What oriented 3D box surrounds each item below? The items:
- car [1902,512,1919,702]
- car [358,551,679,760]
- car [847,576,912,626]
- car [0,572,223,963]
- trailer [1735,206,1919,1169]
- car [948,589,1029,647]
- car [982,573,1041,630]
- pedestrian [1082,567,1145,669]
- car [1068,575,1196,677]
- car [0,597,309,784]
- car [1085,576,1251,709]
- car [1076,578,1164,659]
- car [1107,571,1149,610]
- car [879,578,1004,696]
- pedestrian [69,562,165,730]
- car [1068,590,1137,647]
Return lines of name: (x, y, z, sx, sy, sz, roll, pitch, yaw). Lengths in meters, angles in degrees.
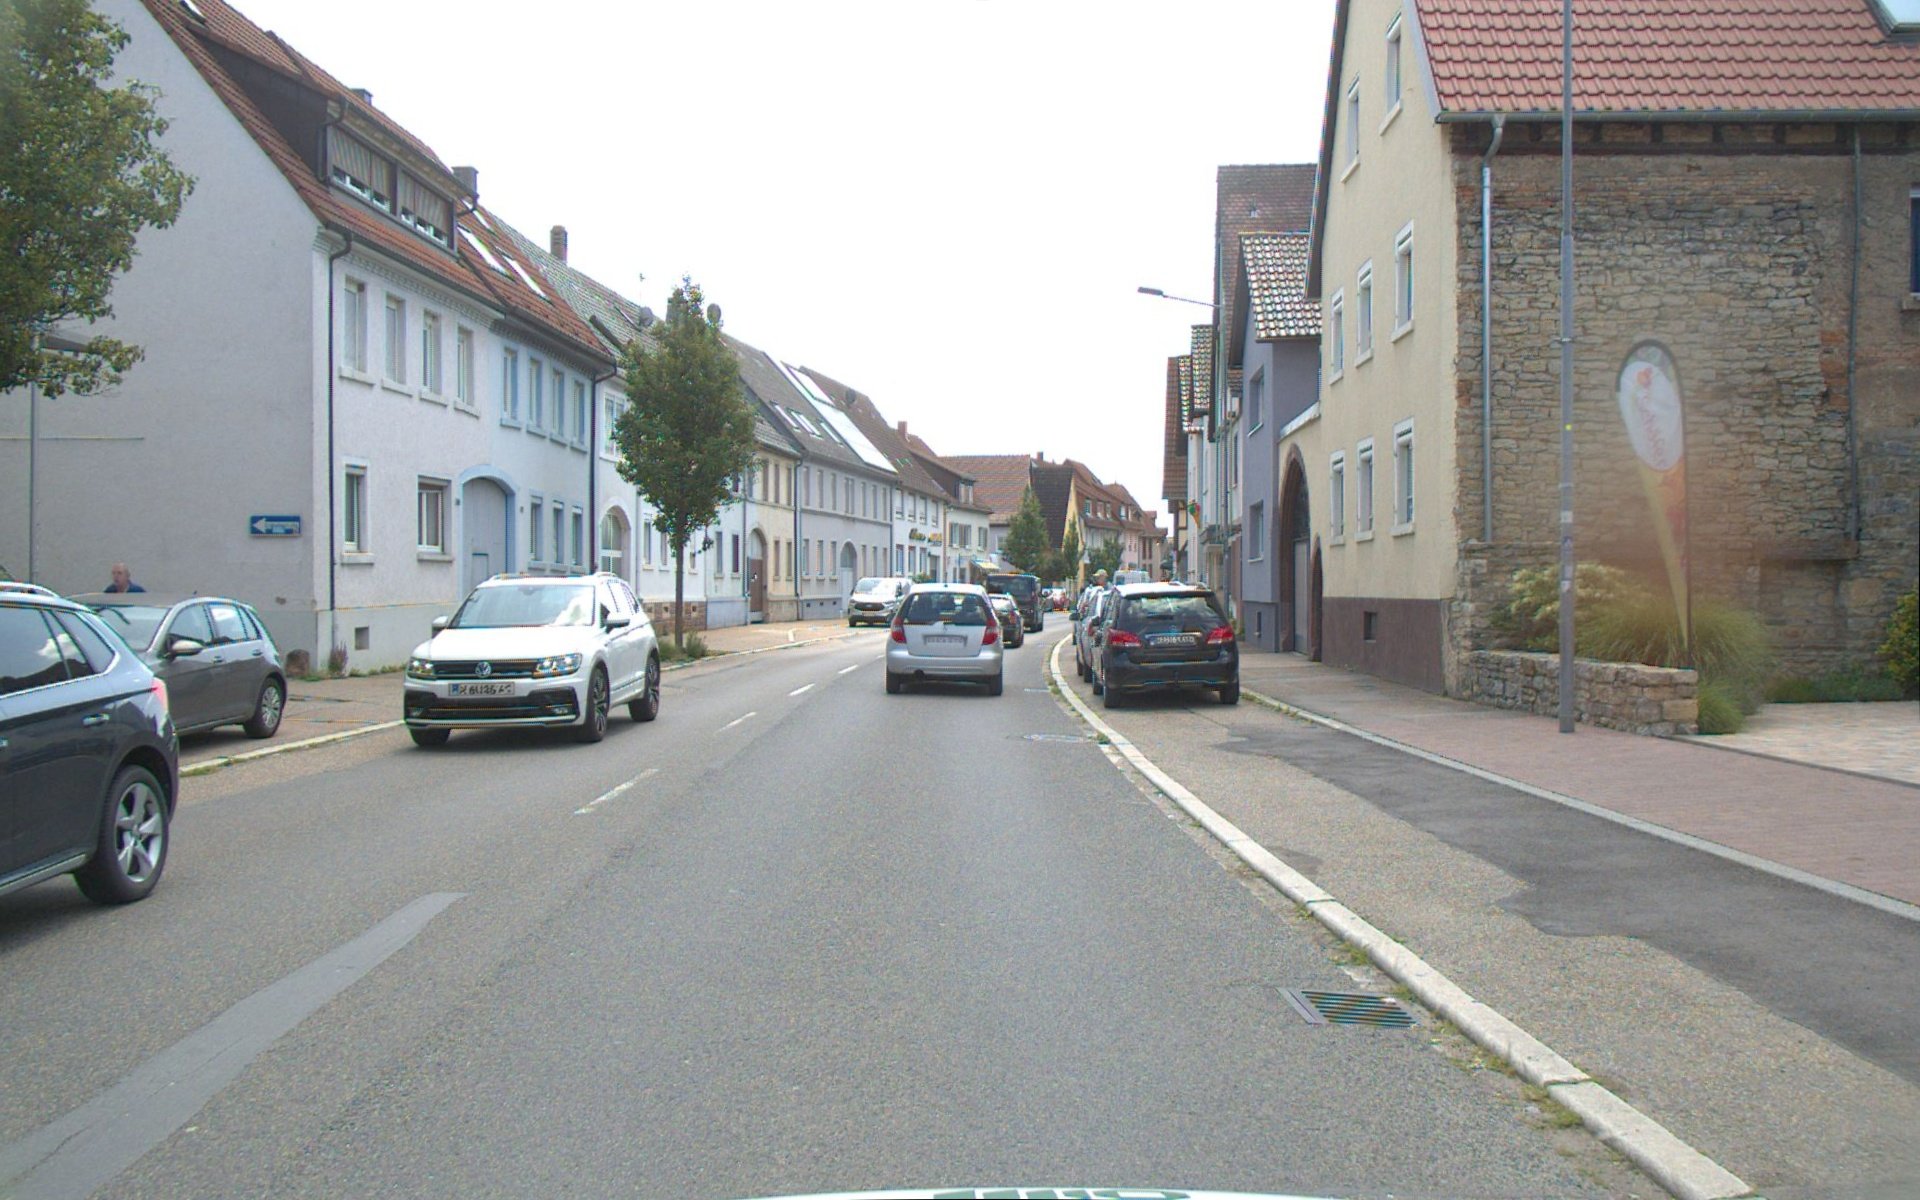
car: (12.552, 0.052, 16.803, 4.953, 1.984, 1.998, -1, 0, -6)
car: (-4.442, 0.487, 17.472, 1.914, 1.815, 4.653, -3, 0, 2)
car: (-3.189, 0.020, 66.542, 2.047, 1.917, 4.003, 0, 0, 5)
car: (-4.692, 0.696, 6.523, 1.707, 1.553, 4.019, -2, 1, 0)
trailer: (3.351, 0.218, 3.211, 1.808, 2.395, 3.586, -1, 1, -4)
car: (0.819, 0.482, 45.233, 1.904, 1.432, 4.002, 2, 0, 5)
car: (1.878, 0.071, 59.449, 1.731, 1.921, 4.450, 2, 0, 6)
pedestrian: (2.898, 0.329, 31.105, 1.072, 1.853, 1.471, 0, 0, 10)
car: (2.843, 0.424, 28.122, 1.822, 1.558, 4.197, -1, 0, 2)
car: (-7.840, 0.730, 15.526, 1.767, 1.486, 4.158, 0, 0, 1)
car: (2.721, 0.505, 22.420, 1.952, 1.586, 4.002, -2, 1, 4)
car: (3.540, 0.404, 36.994, 1.821, 1.654, 4.199, -1, 0, 4)
car: (10.232, -0.547, 100.504, 2.188, 2.261, 4.003, -1, 0, 11)
car: (-0.215, 0.536, 25.557, 1.732, 1.622, 4.001, 2, 0, 1)
pedestrian: (-9.422, 0.509, 18.506, 0.724, 1.833, 0.642, -1, -1, -2)
car: (4.002, 0.515, 46.533, 1.821, 1.488, 3.452, -1, 0, 4)
